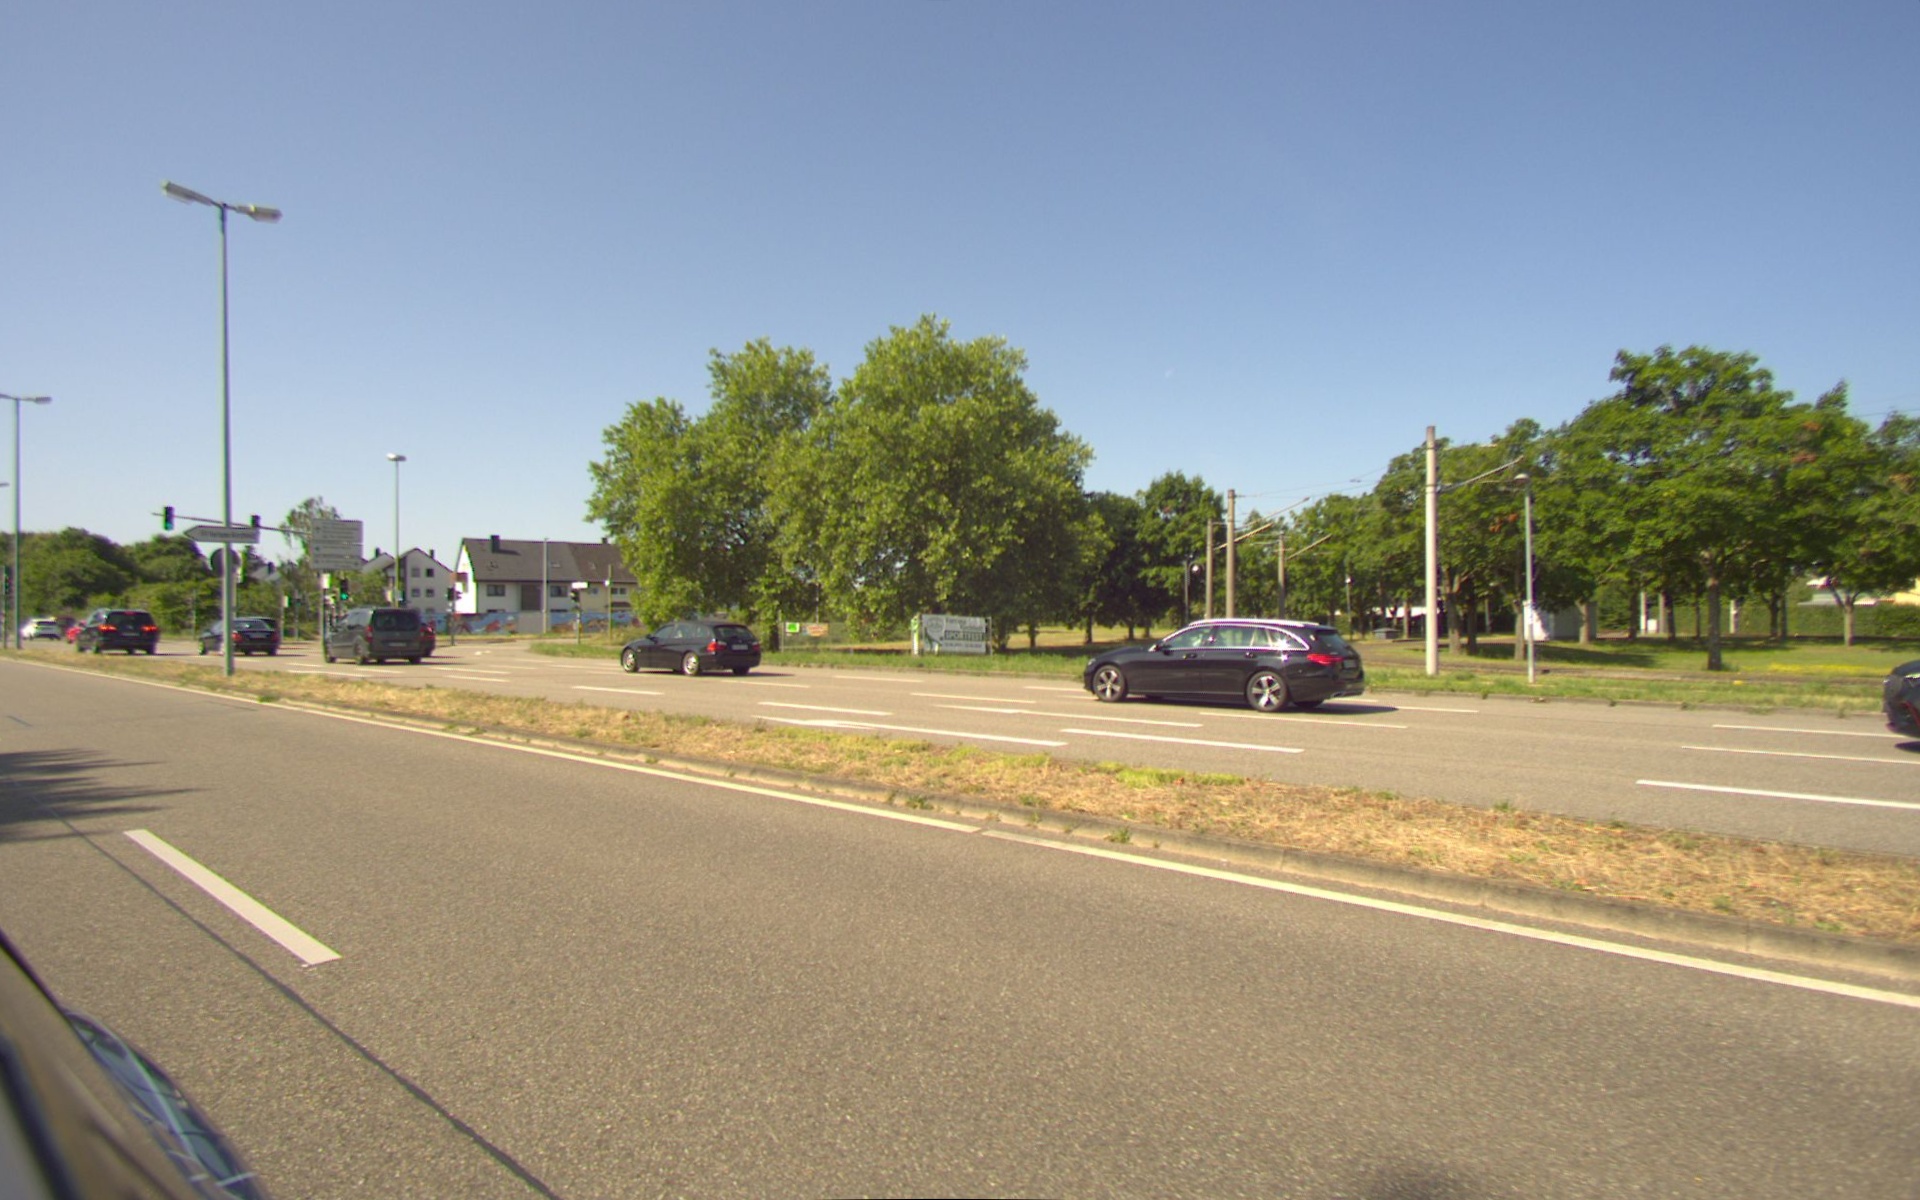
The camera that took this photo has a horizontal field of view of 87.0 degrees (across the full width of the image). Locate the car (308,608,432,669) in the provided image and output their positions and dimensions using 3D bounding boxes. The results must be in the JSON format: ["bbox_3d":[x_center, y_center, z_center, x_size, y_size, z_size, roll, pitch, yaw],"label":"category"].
[{"bbox_3d":[-18.725,1.186,32.061,4.485,1.793,1.962,-1,-1,39],"label":"car"}]

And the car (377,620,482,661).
[{"bbox_3d":[-21.364,1.586,40.688,4.680,1.540,2.051,-1,-2,39],"label":"car"}]

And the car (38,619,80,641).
[{"bbox_3d":[-73.938,2.458,83.021,4.221,1.783,1.689,-1,-2,37],"label":"car"}]

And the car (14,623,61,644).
[{"bbox_3d":[-62.955,2.260,69.058,3.839,1.397,1.810,-1,-3,39],"label":"car"}]

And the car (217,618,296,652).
[{"bbox_3d":[-34.984,1.734,50.319,4.485,1.635,2.051,-1,-3,39],"label":"car"}]

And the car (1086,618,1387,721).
[{"bbox_3d":[4.456,1.051,16.740,4.466,1.476,1.812,-1,-2,40],"label":"car"}]

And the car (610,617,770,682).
[{"bbox_3d":[-7.110,1.243,26.475,4.402,1.557,1.843,-1,-2,40],"label":"car"}]

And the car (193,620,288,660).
[{"bbox_3d":[-28.183,1.540,39.616,4.446,1.468,1.961,-1,-3,40],"label":"car"}]

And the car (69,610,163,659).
[{"bbox_3d":[-32.397,1.312,38.813,4.504,1.764,1.961,-1,-3,40],"label":"car"}]

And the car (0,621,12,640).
[{"bbox_3d":[-76.131,2.425,79.750,3.867,1.468,1.603,-1,-1,39],"label":"car"}]

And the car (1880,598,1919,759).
[{"bbox_3d":[12.145,0.796,9.895,4.552,1.672,1.962,-1,-2,41],"label":"car"}]
